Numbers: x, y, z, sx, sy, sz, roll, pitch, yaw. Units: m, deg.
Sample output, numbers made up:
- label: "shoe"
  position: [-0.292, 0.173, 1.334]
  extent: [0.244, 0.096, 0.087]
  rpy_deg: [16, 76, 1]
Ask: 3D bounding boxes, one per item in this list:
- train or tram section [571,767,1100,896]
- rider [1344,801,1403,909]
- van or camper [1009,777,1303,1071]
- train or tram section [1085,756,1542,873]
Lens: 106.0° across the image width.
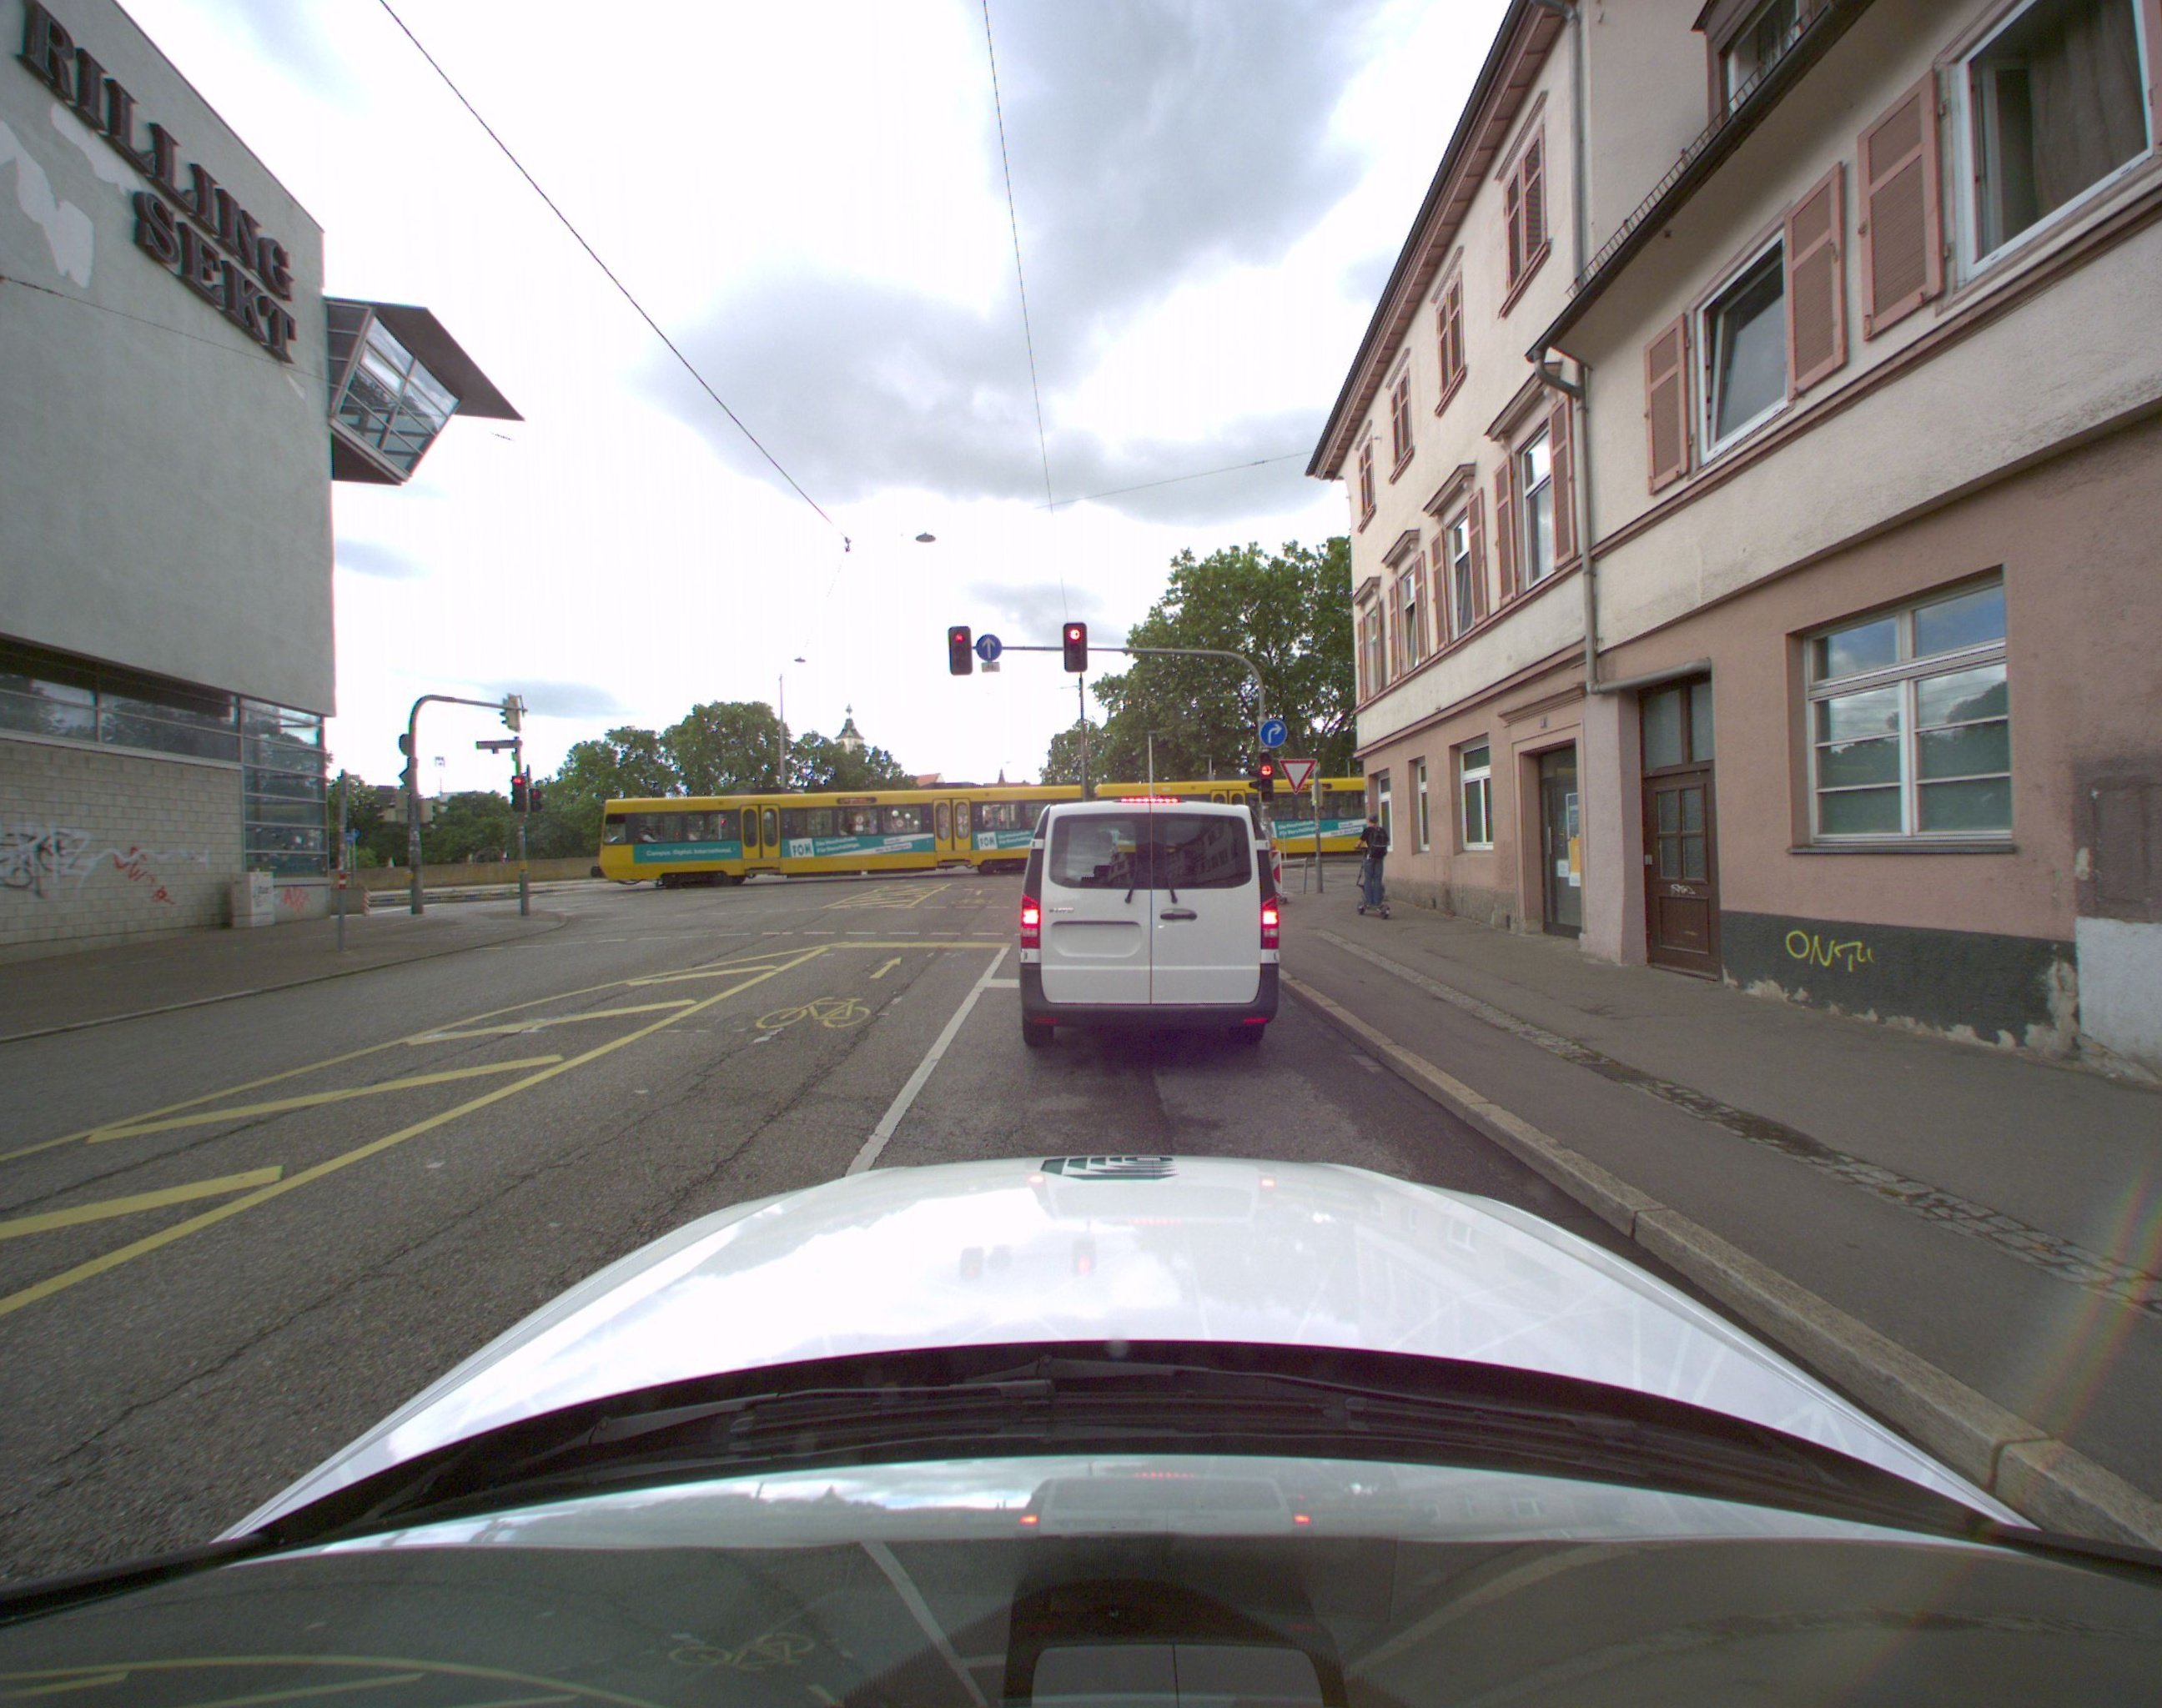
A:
- label: "train or tram section"
  position: [-9.047, -1.034, 32.535]
  extent: [19.218, 4.002, 3.300]
  rpy_deg: [-3, 2, -9]
- label: "rider"
  position: [5.229, 0.017, 14.611]
  extent: [0.715, 1.847, 0.798]
  rpy_deg: [-3, 0, 1]
- label: "van or camper"
  position: [0.487, 0.433, 7.587]
  extent: [1.932, 1.924, 4.440]
  rpy_deg: [0, 1, -1]
- label: "train or tram section"
  position: [9.679, -1.725, 34.687]
  extent: [18.737, 4.002, 3.261]
  rpy_deg: [-3, 2, -5]
